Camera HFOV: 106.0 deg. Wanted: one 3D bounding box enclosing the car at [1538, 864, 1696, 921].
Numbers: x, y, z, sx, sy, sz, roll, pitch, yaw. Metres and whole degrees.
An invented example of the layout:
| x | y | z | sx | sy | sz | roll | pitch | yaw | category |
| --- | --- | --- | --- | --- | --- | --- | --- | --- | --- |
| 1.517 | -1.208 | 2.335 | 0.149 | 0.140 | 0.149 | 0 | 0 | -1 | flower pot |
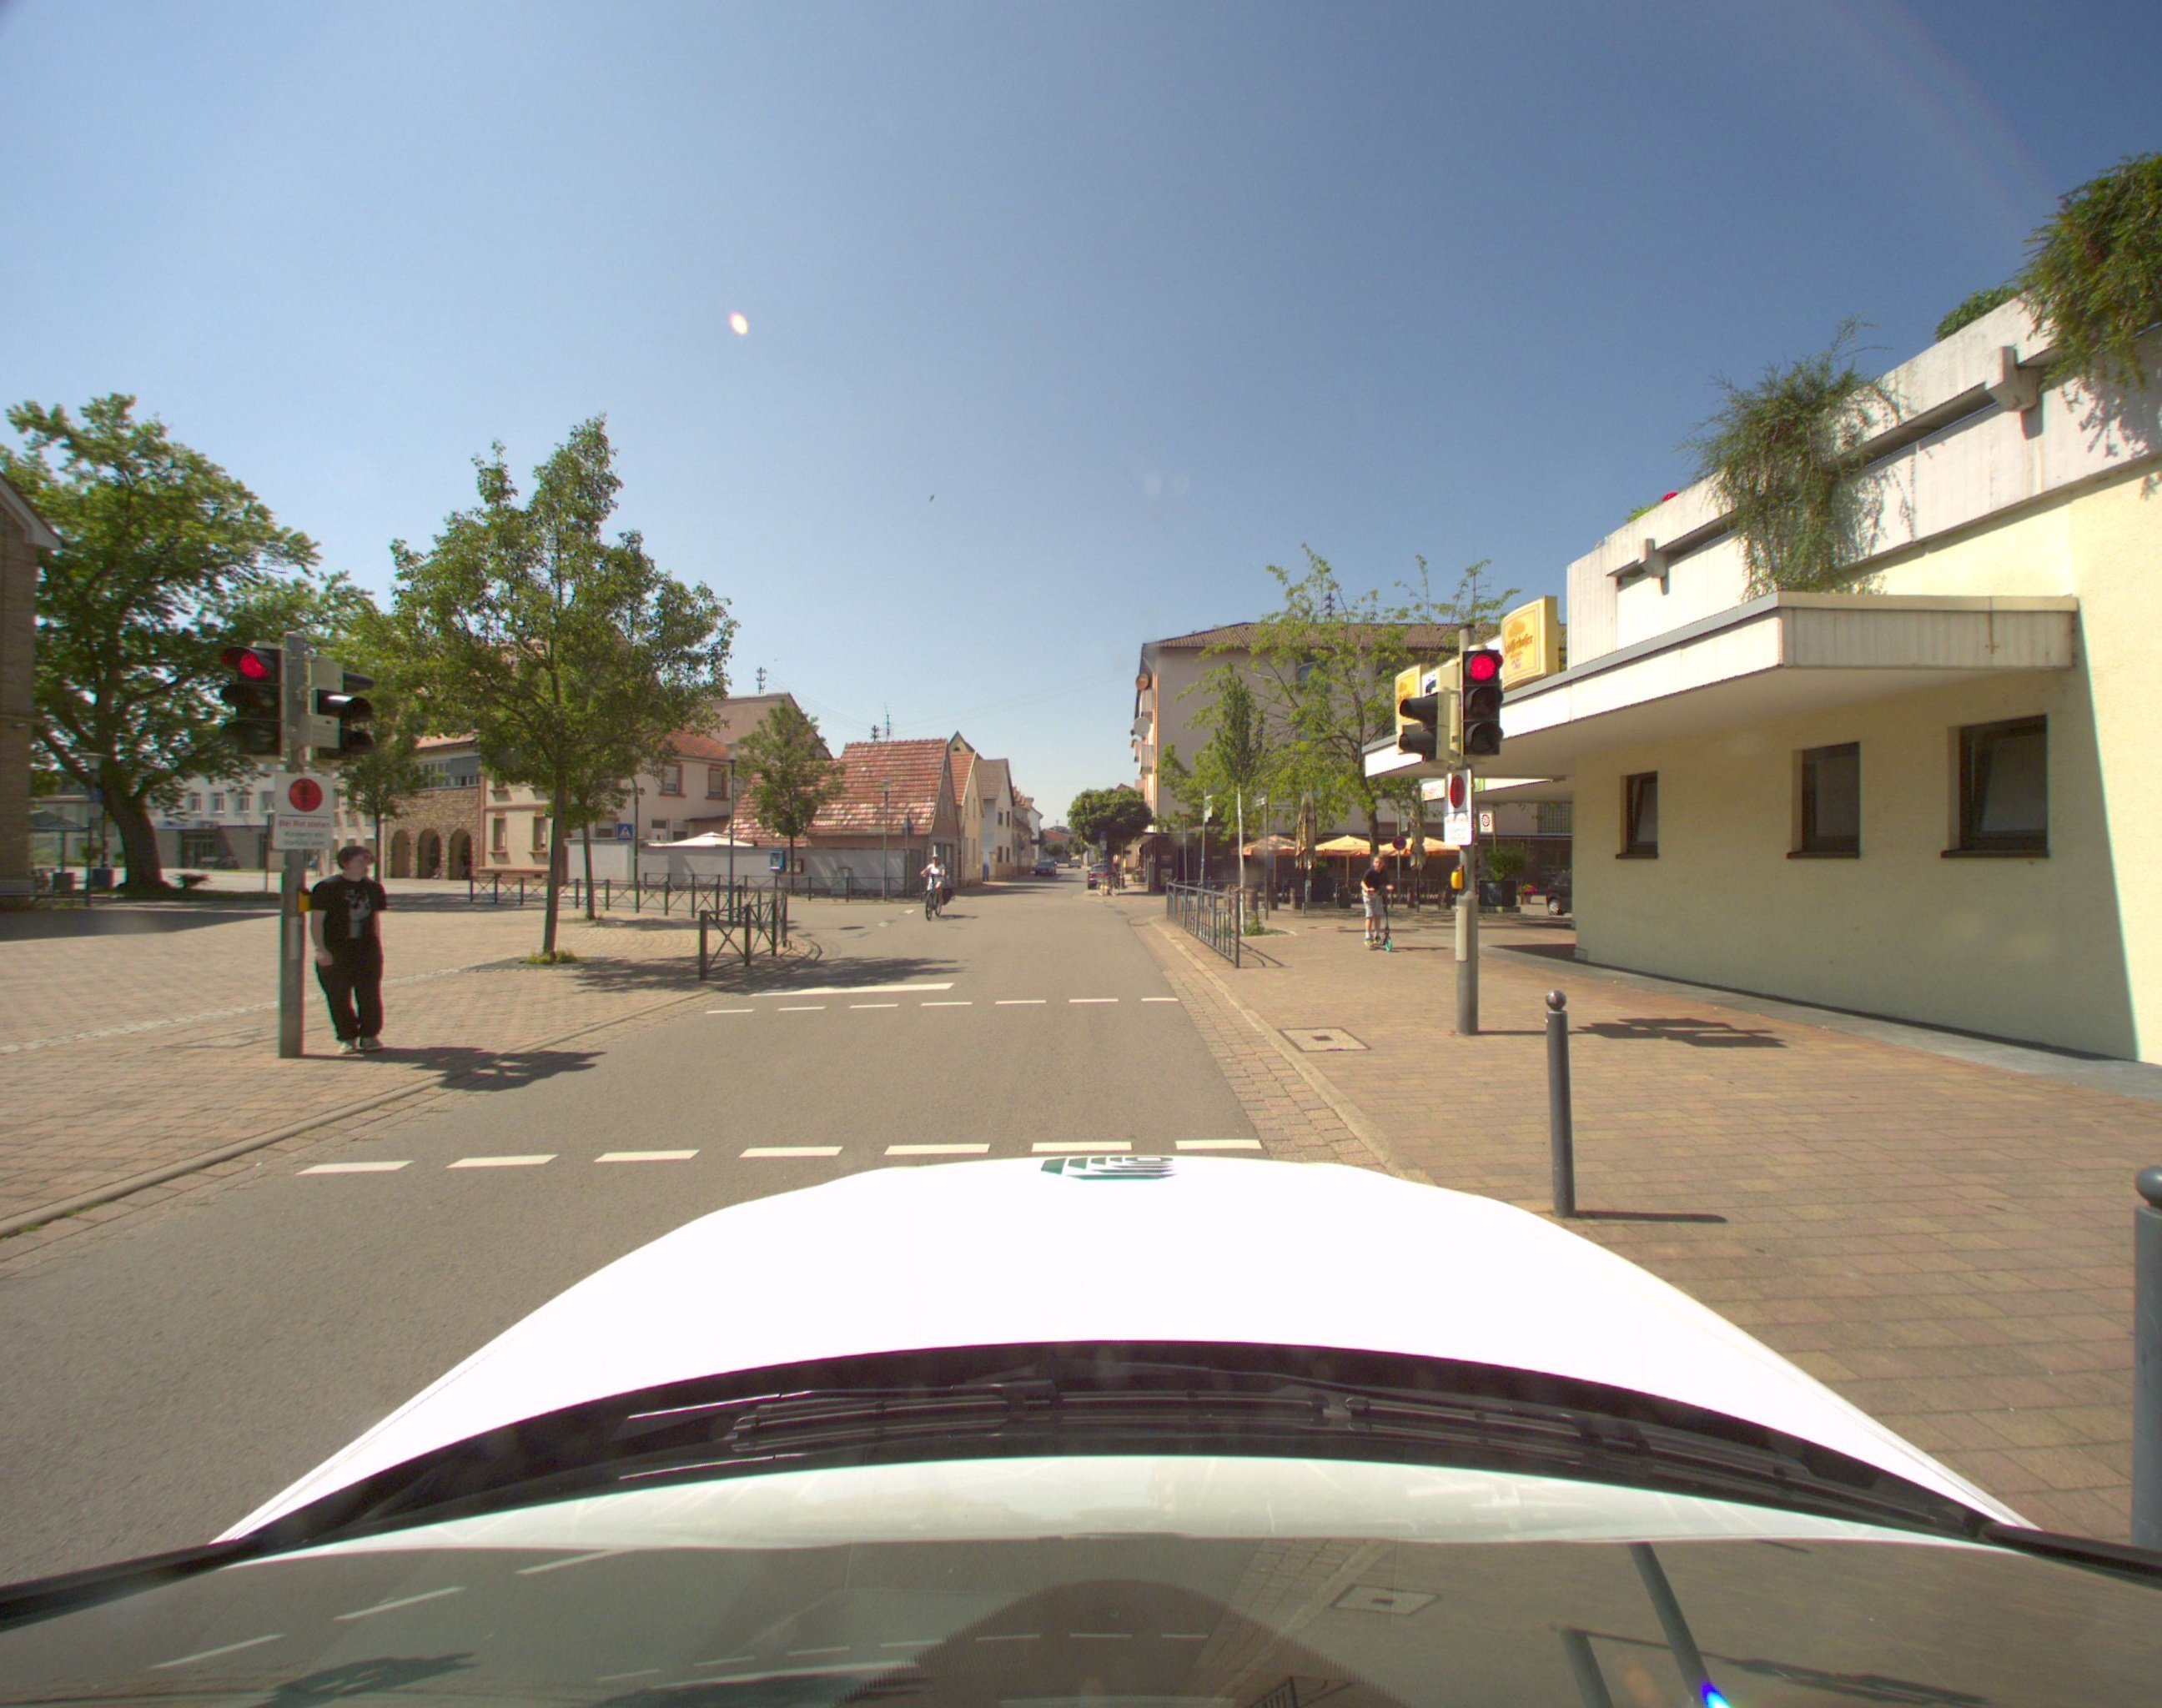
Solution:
| x | y | z | sx | sy | sz | roll | pitch | yaw | category |
| --- | --- | --- | --- | --- | --- | --- | --- | --- | --- |
| 15.244 | 1.060 | 23.457 | 1.763 | 1.510 | 3.965 | 1 | -1 | -4 | car |

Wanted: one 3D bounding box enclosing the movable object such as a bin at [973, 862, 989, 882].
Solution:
| x | y | z | sx | sy | sz | roll | pitch | yaw | category |
| --- | --- | --- | --- | --- | --- | --- | --- | --- | --- |
| -7.013 | 1.263 | 57.094 | 1.096 | 1.366 | 0.390 | 0 | -1 | 5 | movable object such as a bin |

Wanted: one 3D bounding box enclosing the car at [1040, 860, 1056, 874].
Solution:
| x | y | z | sx | sy | sz | roll | pitch | yaw | category |
| --- | --- | --- | --- | --- | --- | --- | --- | --- | --- |
| -3.451 | 1.333 | 85.003 | 1.659 | 1.476 | 3.448 | 0 | -1 | -2 | car |

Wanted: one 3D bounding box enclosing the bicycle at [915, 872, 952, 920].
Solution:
| x | y | z | sx | sy | sz | roll | pitch | yaw | category |
| --- | --- | --- | --- | --- | --- | --- | --- | --- | --- |
| -4.037 | 1.129 | 22.460 | 0.706 | 1.252 | 1.971 | 0 | -1 | -2 | bicycle |

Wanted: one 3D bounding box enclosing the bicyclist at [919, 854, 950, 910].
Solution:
| x | y | z | sx | sy | sz | roll | pitch | yaw | category |
| --- | --- | --- | --- | --- | --- | --- | --- | --- | --- |
| -4.039 | 0.762 | 22.443 | 0.712 | 1.506 | 0.870 | 0 | -1 | -2 | bicyclist |

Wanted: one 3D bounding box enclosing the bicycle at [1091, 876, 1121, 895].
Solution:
| x | y | z | sx | sy | sz | roll | pitch | yaw | category |
| --- | --- | --- | --- | --- | --- | --- | --- | --- | --- |
| 1.189 | 1.483 | 38.678 | 1.396 | 0.897 | 0.468 | -2 | 0 | 38 | bicycle |

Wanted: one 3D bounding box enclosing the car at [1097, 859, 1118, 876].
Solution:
| x | y | z | sx | sy | sz | roll | pitch | yaw | category |
| --- | --- | --- | --- | --- | --- | --- | --- | --- | --- |
| 2.667 | 1.330 | 81.163 | 2.035 | 1.689 | 4.843 | 0 | -1 | 2 | car |

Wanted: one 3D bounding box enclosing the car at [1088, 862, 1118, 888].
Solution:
| x | y | z | sx | sy | sz | roll | pitch | yaw | category |
| --- | --- | --- | --- | --- | --- | --- | --- | --- | --- |
| 1.301 | 1.195 | 47.305 | 1.569 | 1.454 | 3.489 | 0 | -1 | 4 | car |

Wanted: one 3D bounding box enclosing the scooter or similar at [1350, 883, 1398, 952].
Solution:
| x | y | z | sx | sy | sz | roll | pitch | yaw | category |
| --- | --- | --- | --- | --- | --- | --- | --- | --- | --- |
| 4.375 | 0.934 | 12.210 | 0.409 | 0.965 | 0.961 | 0 | -1 | 3 | scooter or similar |

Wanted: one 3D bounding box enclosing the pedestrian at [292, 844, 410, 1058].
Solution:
| x | y | z | sx | sy | sz | roll | pitch | yaw | category |
| --- | --- | --- | --- | --- | --- | --- | --- | --- | --- |
| -5.882 | 0.741 | 6.566 | 0.543 | 1.619 | 0.561 | -1 | -2 | 35 | pedestrian |

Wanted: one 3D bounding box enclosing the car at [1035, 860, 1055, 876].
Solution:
| x | y | z | sx | sy | sz | roll | pitch | yaw | category |
| --- | --- | --- | --- | --- | --- | --- | --- | --- | --- |
| -3.434 | 1.311 | 78.443 | 1.657 | 1.476 | 4.135 | 0 | -1 | 1 | car |

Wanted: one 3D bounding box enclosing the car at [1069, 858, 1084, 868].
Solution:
| x | y | z | sx | sy | sz | roll | pitch | yaw | category |
| --- | --- | --- | --- | --- | --- | --- | --- | --- | --- |
| -0.717 | 1.430 | 129.259 | 2.023 | 1.598 | 4.502 | 0 | -1 | -4 | car |

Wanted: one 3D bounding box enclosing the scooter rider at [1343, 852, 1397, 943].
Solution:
| x | y | z | sx | sy | sz | roll | pitch | yaw | category |
| --- | --- | --- | --- | --- | --- | --- | --- | --- | --- |
| 4.391 | 0.634 | 12.423 | 0.460 | 1.325 | 1.134 | 0 | -1 | 2 | scooter rider |
